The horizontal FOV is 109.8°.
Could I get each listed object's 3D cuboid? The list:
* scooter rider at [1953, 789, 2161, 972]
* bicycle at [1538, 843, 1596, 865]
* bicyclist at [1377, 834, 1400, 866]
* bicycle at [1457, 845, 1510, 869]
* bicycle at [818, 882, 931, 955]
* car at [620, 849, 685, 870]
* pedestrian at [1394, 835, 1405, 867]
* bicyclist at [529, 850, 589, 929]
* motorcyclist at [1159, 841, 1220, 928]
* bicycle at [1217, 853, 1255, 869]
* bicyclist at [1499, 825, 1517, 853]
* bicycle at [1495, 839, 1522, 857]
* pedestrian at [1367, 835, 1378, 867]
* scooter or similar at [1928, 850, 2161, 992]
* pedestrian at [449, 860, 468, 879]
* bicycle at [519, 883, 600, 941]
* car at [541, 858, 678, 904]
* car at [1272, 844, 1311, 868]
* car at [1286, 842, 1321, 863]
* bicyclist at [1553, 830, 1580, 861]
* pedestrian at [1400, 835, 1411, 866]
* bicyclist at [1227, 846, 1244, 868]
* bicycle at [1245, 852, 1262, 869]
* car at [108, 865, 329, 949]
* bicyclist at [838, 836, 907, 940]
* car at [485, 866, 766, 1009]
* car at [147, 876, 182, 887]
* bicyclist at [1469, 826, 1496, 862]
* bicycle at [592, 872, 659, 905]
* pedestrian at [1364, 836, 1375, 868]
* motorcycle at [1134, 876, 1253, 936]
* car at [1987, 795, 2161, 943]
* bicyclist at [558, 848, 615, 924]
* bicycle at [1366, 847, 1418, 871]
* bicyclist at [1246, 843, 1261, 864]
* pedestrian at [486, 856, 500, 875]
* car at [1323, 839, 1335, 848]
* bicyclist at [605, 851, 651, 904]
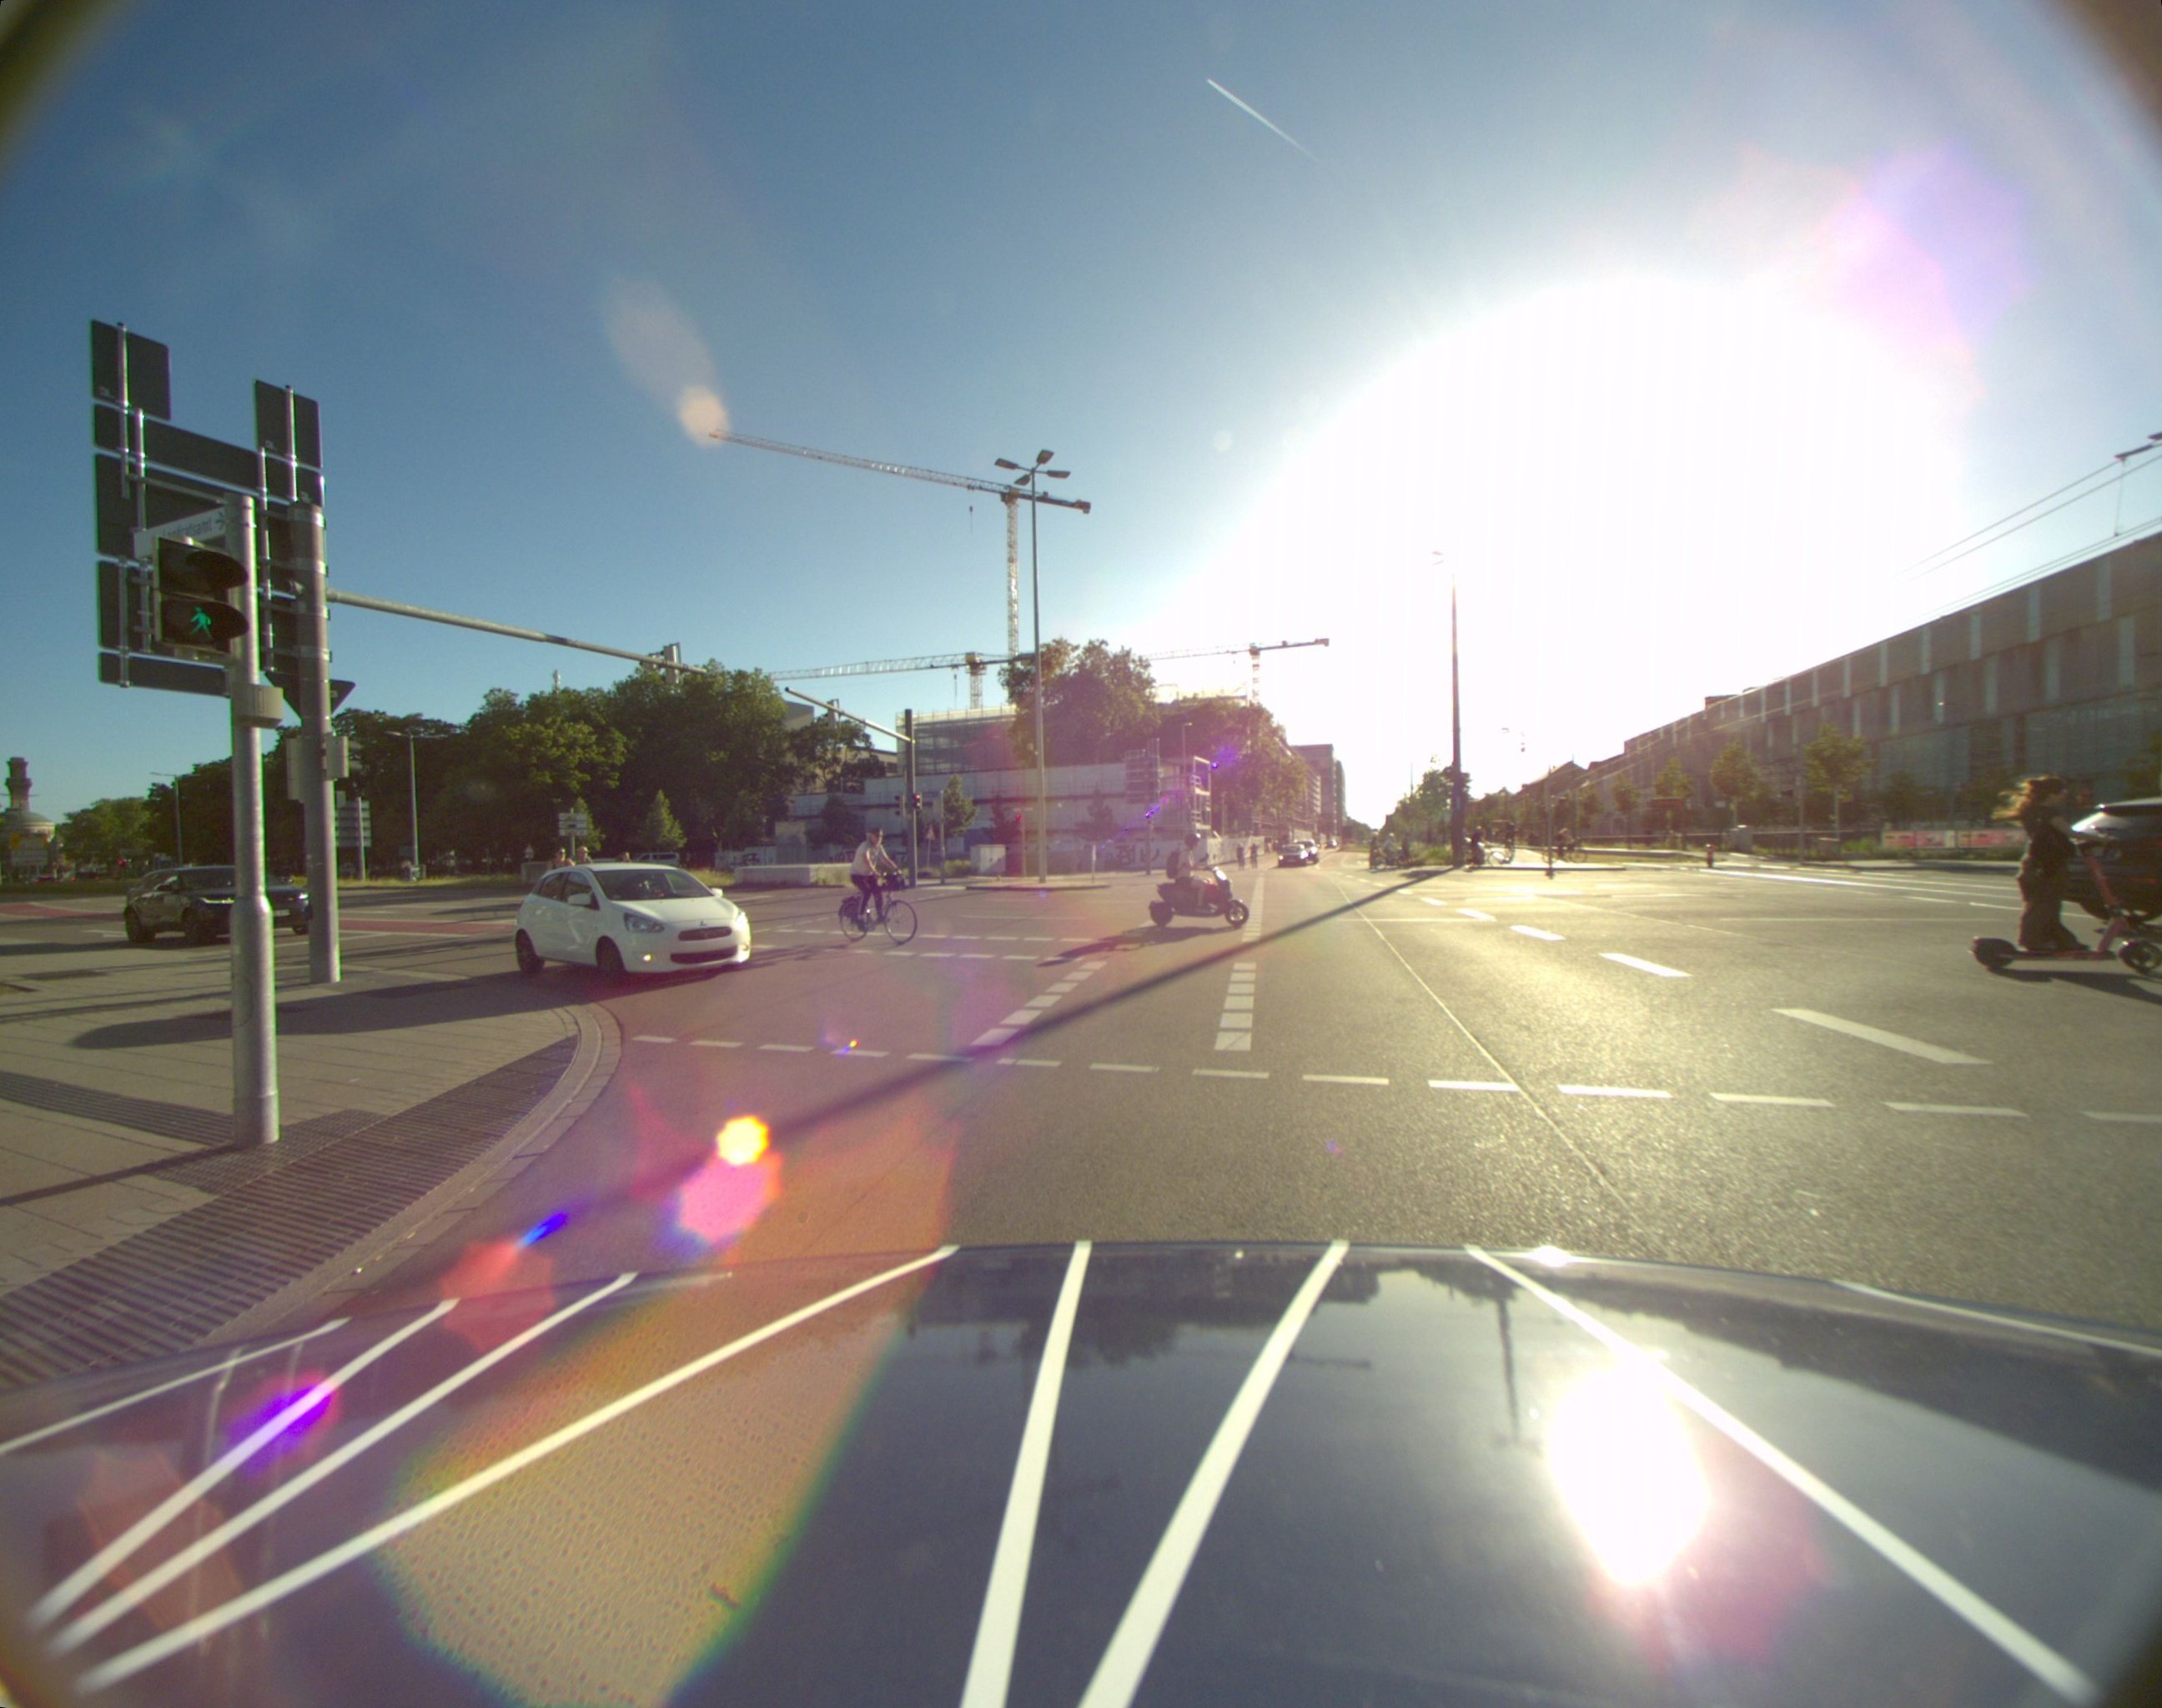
[{"bbox_3d":[8.841,0.219,6.838,1.114,1.535,0.645,-1,3,23],"label":"scooter rider"},{"bbox_3d":[22.290,0.008,34.872,2.073,0.922,0.806,-2,1,18],"label":"bicycle"},{"bbox_3d":[13.952,-0.193,34.444,0.841,1.394,0.807,-2,2,28],"label":"bicyclist"},{"bbox_3d":[17.656,0.123,33.388,1.974,0.991,0.650,-2,1,22],"label":"bicycle"},{"bbox_3d":[-3.442,1.039,12.636,1.795,1.088,0.710,-1,2,29],"label":"bicycle"},{"bbox_3d":[-42.702,0.517,75.849,1.995,1.881,5.340,-2,1,31],"label":"car"},{"bbox_3d":[15.488,-0.151,36.947,0.450,1.557,0.521,-1,2,26],"label":"pedestrian"},{"bbox_3d":[-10.621,0.708,15.460,0.845,1.534,0.653,-1,2,32],"label":"bicyclist"},{"bbox_3d":[1.933,0.528,13.468,0.880,1.476,0.758,-1,2,20],"label":"motorcyclist"},{"bbox_3d":[9.313,0.424,45.617,2.071,0.922,0.807,-2,2,42],"label":"bicycle"},{"bbox_3d":[23.580,-0.832,41.963,0.755,1.497,0.618,-1,2,16],"label":"bicyclist"},{"bbox_3d":[23.600,-0.363,41.968,0.755,0.935,2.397,-1,1,16],"label":"bicycle"},{"bbox_3d":[14.537,-0.155,37.901,0.450,1.557,0.521,-1,2,26],"label":"pedestrian"},{"bbox_3d":[8.853,0.577,6.848,1.480,1.169,0.645,-1,3,23],"label":"scooter or similar"},{"bbox_3d":[-60.933,1.533,74.360,0.962,1.773,0.999,0,3,26],"label":"pedestrian"},{"bbox_3d":[-10.632,1.155,15.472,1.795,1.088,0.653,-1,2,32],"label":"bicycle"},{"bbox_3d":[-15.908,0.889,25.596,4.514,1.344,1.779,-1,2,27],"label":"car"},{"bbox_3d":[13.634,0.085,49.044,1.995,1.368,4.005,-2,1,22],"label":"car"},{"bbox_3d":[16.007,-0.117,54.443,1.995,1.368,4.005,-2,1,22],"label":"car"},{"bbox_3d":[22.264,-0.398,34.868,0.840,1.349,0.806,-2,2,18],"label":"bicyclist"},{"bbox_3d":[16.152,-0.174,37.774,0.450,1.557,0.521,-1,2,26],"label":"pedestrian"},{"bbox_3d":[9.297,0.158,45.630,0.636,1.263,0.807,-1,2,42],"label":"bicyclist"},{"bbox_3d":[10.805,0.392,47.628,0.804,0.922,2.079,-2,1,18],"label":"bicycle"},{"bbox_3d":[-19.782,1.137,17.413,4.780,1.653,2.003,-1,1,25],"label":"car"},{"bbox_3d":[-3.461,0.546,12.613,0.784,1.660,0.702,-1,2,29],"label":"bicyclist"},{"bbox_3d":[-6.202,0.956,10.224,3.957,1.463,1.664,0,4,35],"label":"car"},{"bbox_3d":[-105.687,3.135,87.633,3.761,1.127,1.621,-1,2,24],"label":"car"},{"bbox_3d":[17.639,-0.455,33.381,0.939,1.536,0.650,-2,1,22],"label":"bicyclist"},{"bbox_3d":[-13.527,1.032,22.559,1.906,0.904,0.625,-1,2,21],"label":"bicycle"},{"bbox_3d":[14.192,-0.120,37.383,0.450,1.557,0.521,-1,2,26],"label":"pedestrian"},{"bbox_3d":[2.002,0.902,13.469,1.955,0.963,0.758,-1,2,20],"label":"motorcycle"},{"bbox_3d":[14.453,0.094,8.693,4.781,1.653,2.204,-1,1,21],"label":"car"},{"bbox_3d":[-10.563,0.664,16.240,0.892,1.566,0.627,-1,2,30],"label":"bicyclist"},{"bbox_3d":[14.088,0.229,34.395,2.072,0.973,0.807,-2,1,28],"label":"bicycle"},{"bbox_3d":[10.790,-0.039,47.625,0.804,1.290,0.777,-2,2,18],"label":"bicyclist"},{"bbox_3d":[-53.805,1.045,69.502,0.696,1.717,0.666,-1,2,26],"label":"pedestrian"},{"bbox_3d":[39.829,-1.740,121.948,1.782,1.318,4.004,-1,3,20],"label":"car"},{"bbox_3d":[-13.411,0.693,22.498,0.935,1.495,0.625,-1,3,21],"label":"bicyclist"}]
